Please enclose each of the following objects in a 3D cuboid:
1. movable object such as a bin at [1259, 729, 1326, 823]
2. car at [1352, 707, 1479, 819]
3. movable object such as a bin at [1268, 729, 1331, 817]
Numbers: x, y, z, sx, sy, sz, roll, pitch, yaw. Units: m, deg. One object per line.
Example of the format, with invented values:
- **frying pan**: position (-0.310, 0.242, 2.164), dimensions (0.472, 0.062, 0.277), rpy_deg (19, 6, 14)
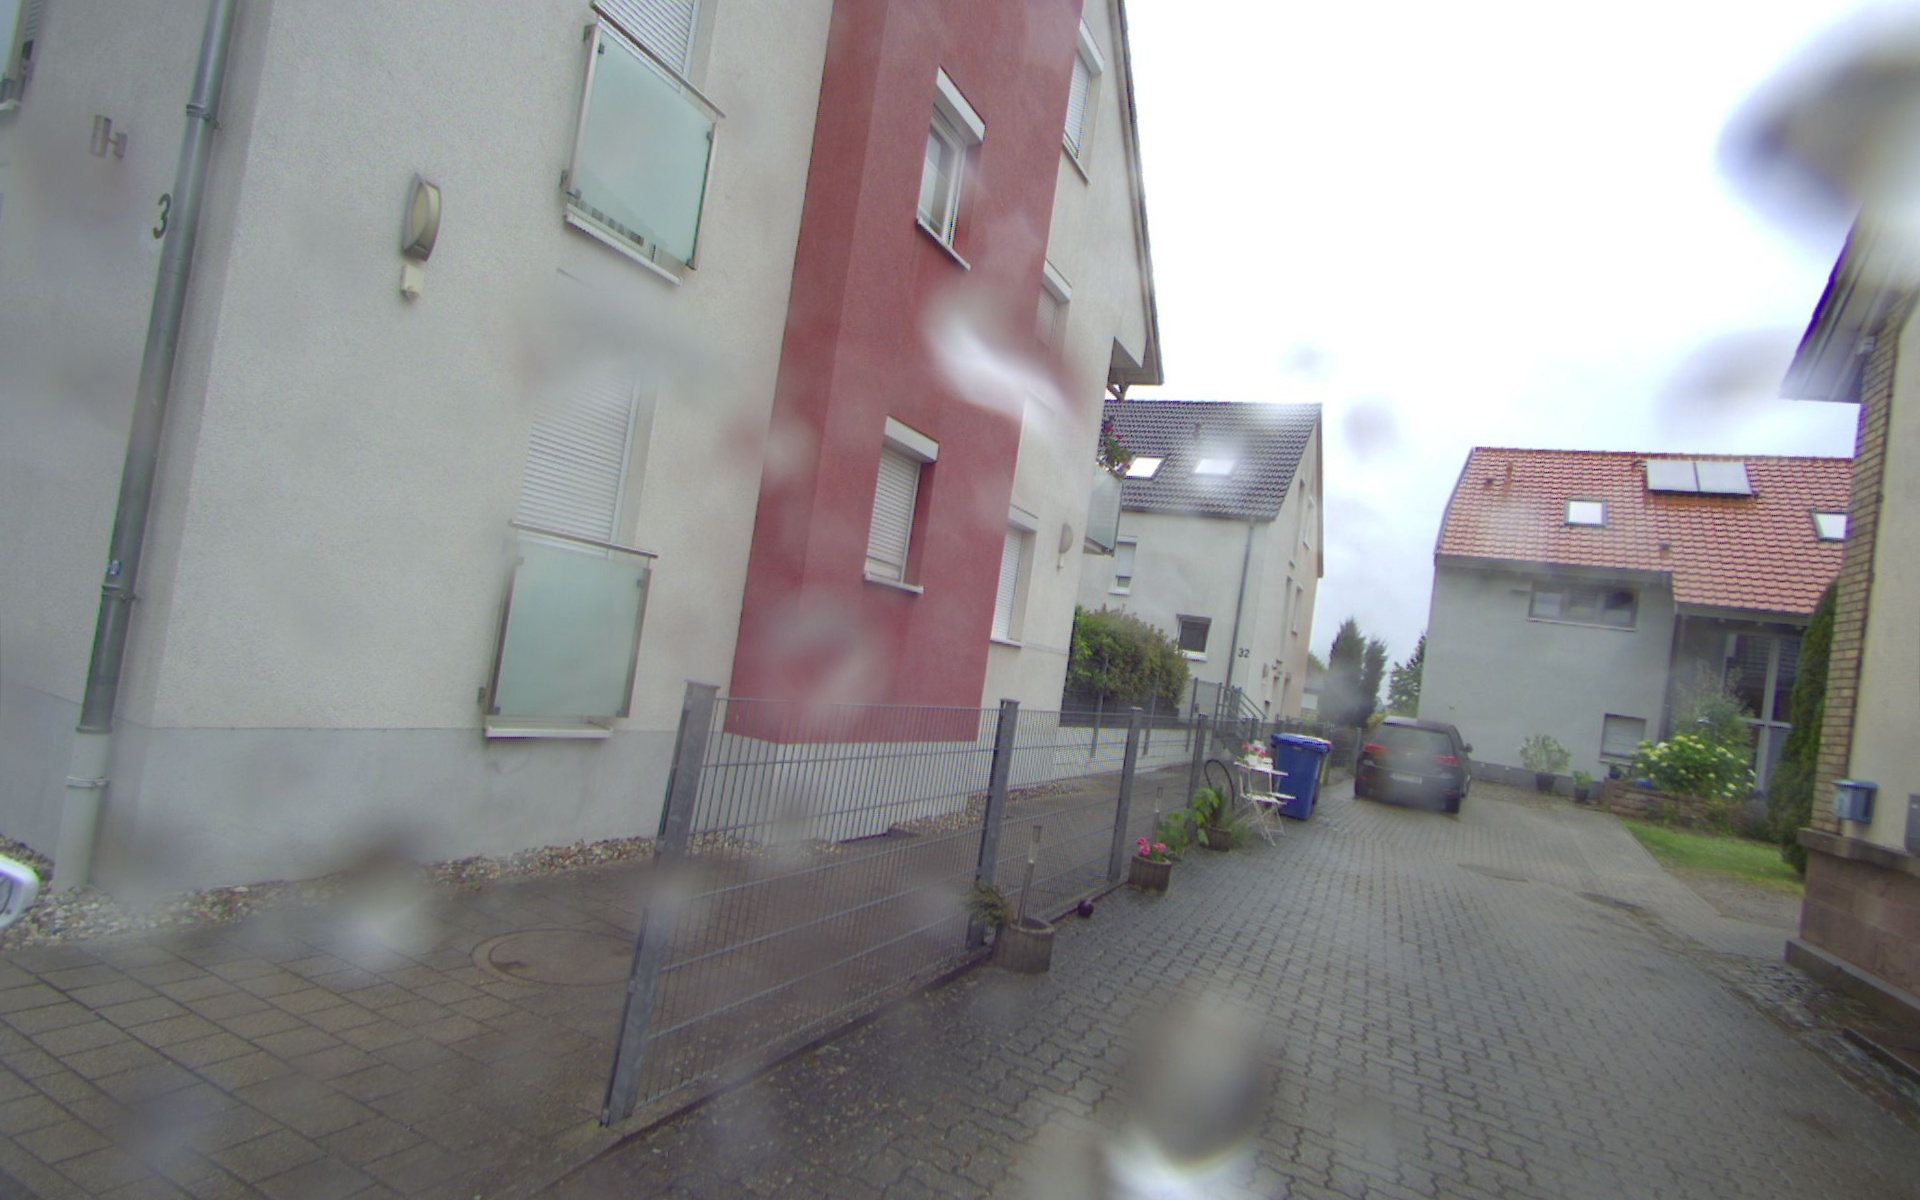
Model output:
- **movable object such as a bin**: position (4.459, 2.342, 13.475), dimensions (0.675, 1.108, 0.536), rpy_deg (7, -2, 25)
- **car**: position (8.550, 2.913, 18.701), dimensions (1.656, 1.491, 3.993), rpy_deg (7, 0, 30)
- **movable object such as a bin**: position (4.816, 2.439, 14.260), dimensions (0.675, 1.108, 0.536), rpy_deg (7, -2, 25)
